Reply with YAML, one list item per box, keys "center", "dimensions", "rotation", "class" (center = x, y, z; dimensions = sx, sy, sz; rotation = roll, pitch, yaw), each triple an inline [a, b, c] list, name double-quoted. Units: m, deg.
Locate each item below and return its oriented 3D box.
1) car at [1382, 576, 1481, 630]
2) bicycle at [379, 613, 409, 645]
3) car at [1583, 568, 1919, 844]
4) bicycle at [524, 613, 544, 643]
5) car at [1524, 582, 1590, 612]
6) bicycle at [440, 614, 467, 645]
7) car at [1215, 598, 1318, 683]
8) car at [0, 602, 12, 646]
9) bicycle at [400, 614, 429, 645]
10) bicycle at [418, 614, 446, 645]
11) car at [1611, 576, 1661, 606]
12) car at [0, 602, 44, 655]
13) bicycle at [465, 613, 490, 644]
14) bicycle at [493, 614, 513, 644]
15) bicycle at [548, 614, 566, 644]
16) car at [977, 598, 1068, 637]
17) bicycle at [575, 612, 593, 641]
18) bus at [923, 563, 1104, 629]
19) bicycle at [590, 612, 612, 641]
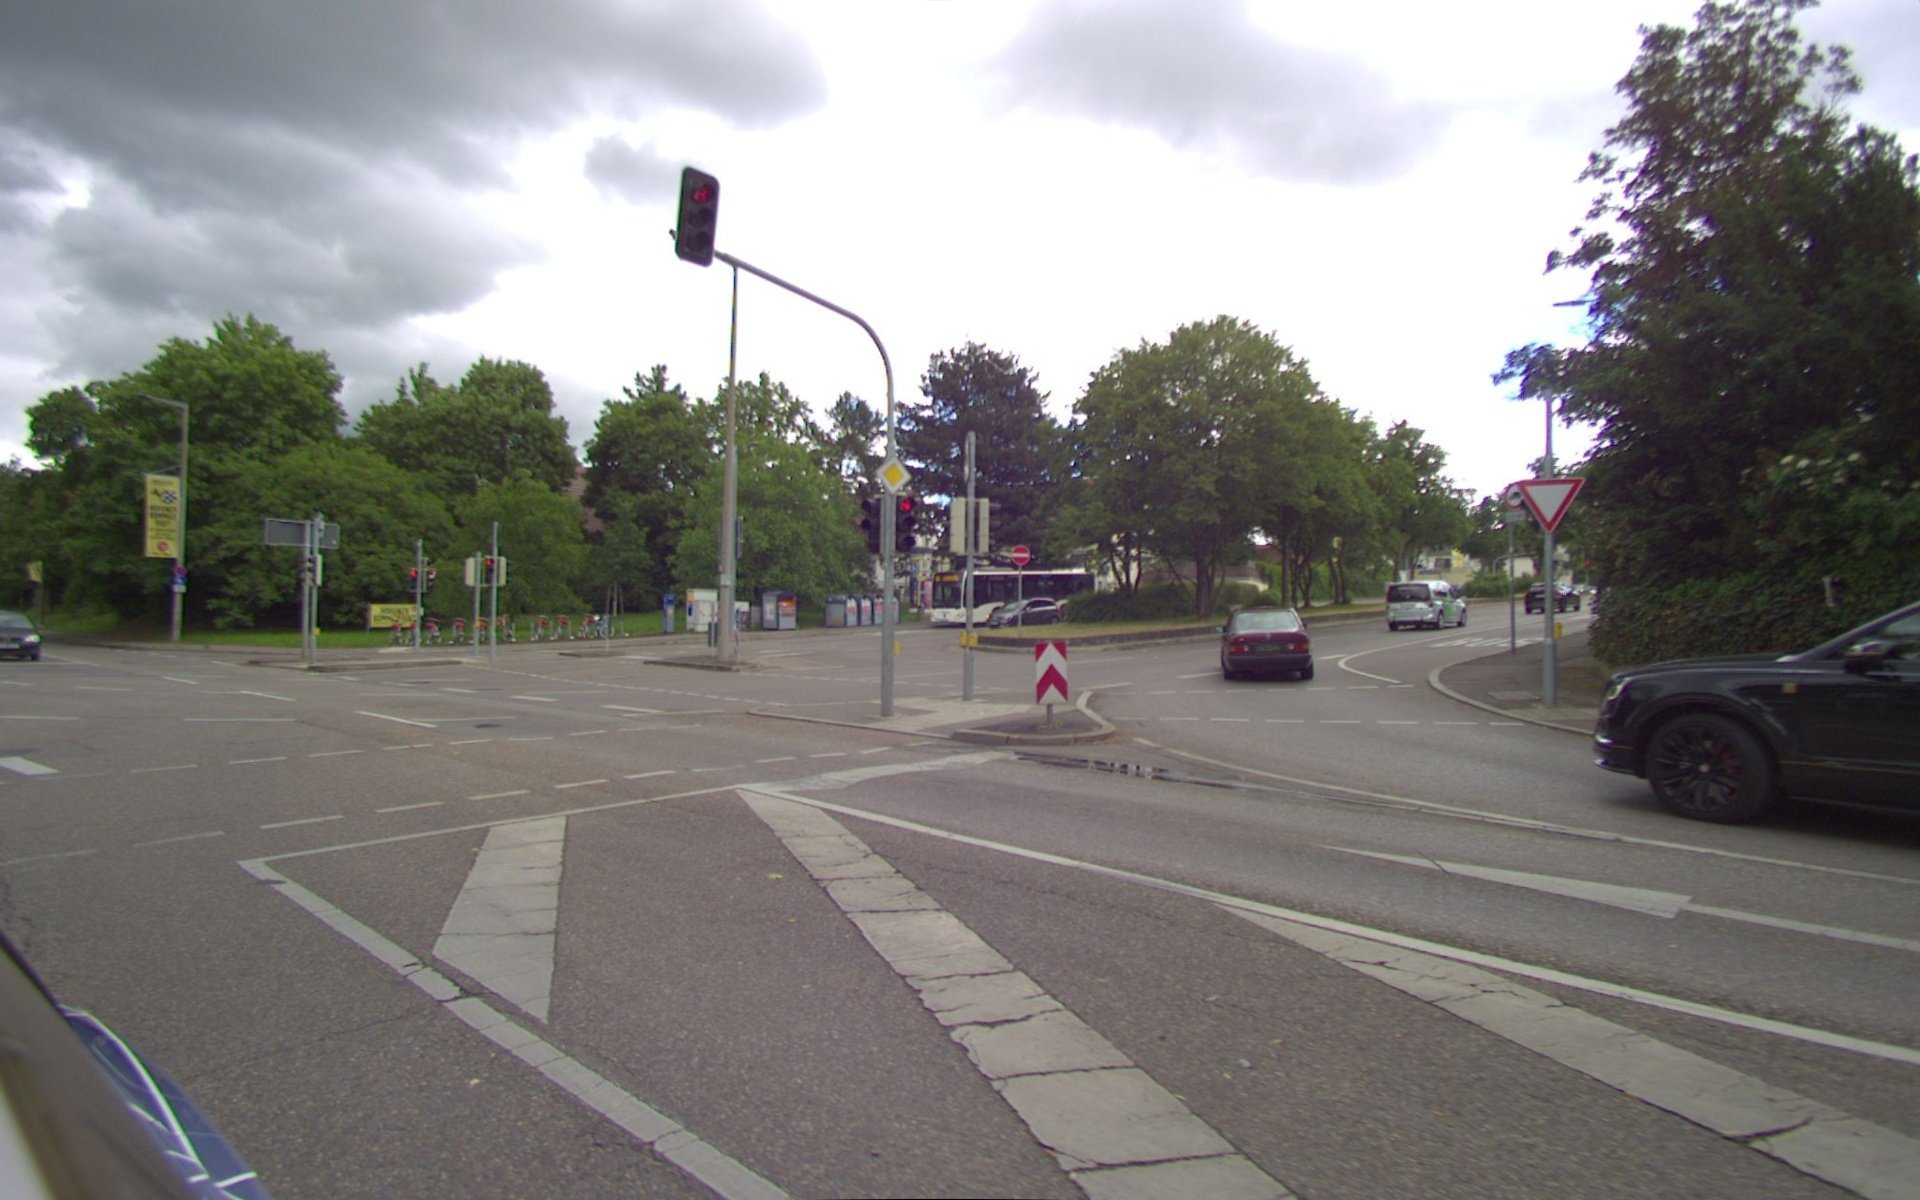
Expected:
- center: [17.624, 0.149, 37.741]
  dimensions: [4.474, 1.888, 1.950]
  rotation: [1, -1, -45]
  class: "car"
- center: [-23.684, 1.206, 42.375]
  dimensions: [0.537, 1.262, 1.940]
  rotation: [0, 0, -11]
  class: "bicycle"
- center: [7.018, 0.663, 6.238]
  dimensions: [1.876, 1.691, 5.093]
  rotation: [2, -2, -35]
  class: "car"
- center: [-18.592, 1.214, 44.189]
  dimensions: [0.536, 1.262, 1.941]
  rotation: [0, 0, -15]
  class: "bicycle"
- center: [29.844, -0.121, 50.514]
  dimensions: [1.949, 1.434, 4.477]
  rotation: [-1, -1, 43]
  class: "car"
- center: [-21.470, 1.218, 42.950]
  dimensions: [0.537, 1.262, 1.940]
  rotation: [0, 0, -11]
  class: "bicycle"
- center: [6.031, 0.711, 19.927]
  dimensions: [1.733, 1.475, 4.318]
  rotation: [0, 0, 17]
  class: "car"
- center: [-34.039, 0.802, 34.958]
  dimensions: [3.929, 1.479, 1.574]
  rotation: [-1, -4, 43]
  class: "car"
- center: [-23.084, 1.221, 42.835]
  dimensions: [0.537, 1.262, 1.940]
  rotation: [0, -1, -11]
  class: "bicycle"
- center: [-22.370, 1.219, 42.932]
  dimensions: [0.537, 1.262, 1.940]
  rotation: [0, 0, -11]
  class: "bicycle"
- center: [43.529, -0.541, 65.162]
  dimensions: [1.950, 1.825, 4.380]
  rotation: [-1, -1, 44]
  class: "car"
- center: [-28.225, 0.820, 29.692]
  dimensions: [3.806, 1.478, 1.539]
  rotation: [-1, -4, 42]
  class: "car"
- center: [-20.606, 1.202, 43.244]
  dimensions: [0.537, 1.262, 1.940]
  rotation: [0, 0, -11]
  class: "bicycle"
- center: [-19.723, 1.246, 43.662]
  dimensions: [0.536, 1.262, 1.941]
  rotation: [0, 0, -32]
  class: "bicycle"
- center: [-17.757, 1.271, 44.601]
  dimensions: [0.536, 1.262, 1.941]
  rotation: [0, 0, -15]
  class: "bicycle"
- center: [3.161, 0.826, 50.479]
  dimensions: [2.000, 1.867, 4.678]
  rotation: [0, 0, 43]
  class: "car"
- center: [-16.798, 1.170, 45.183]
  dimensions: [0.536, 1.262, 1.942]
  rotation: [0, 0, -26]
  class: "bicycle"
- center: [3.308, -0.369, 56.543]
  dimensions: [2.681, 3.186, 12.171]
  rotation: [0, 2, 44]
  class: "bus"
- center: [-16.170, 1.185, 45.503]
  dimensions: [0.536, 1.262, 1.941]
  rotation: [0, 0, -32]
  class: "bicycle"
